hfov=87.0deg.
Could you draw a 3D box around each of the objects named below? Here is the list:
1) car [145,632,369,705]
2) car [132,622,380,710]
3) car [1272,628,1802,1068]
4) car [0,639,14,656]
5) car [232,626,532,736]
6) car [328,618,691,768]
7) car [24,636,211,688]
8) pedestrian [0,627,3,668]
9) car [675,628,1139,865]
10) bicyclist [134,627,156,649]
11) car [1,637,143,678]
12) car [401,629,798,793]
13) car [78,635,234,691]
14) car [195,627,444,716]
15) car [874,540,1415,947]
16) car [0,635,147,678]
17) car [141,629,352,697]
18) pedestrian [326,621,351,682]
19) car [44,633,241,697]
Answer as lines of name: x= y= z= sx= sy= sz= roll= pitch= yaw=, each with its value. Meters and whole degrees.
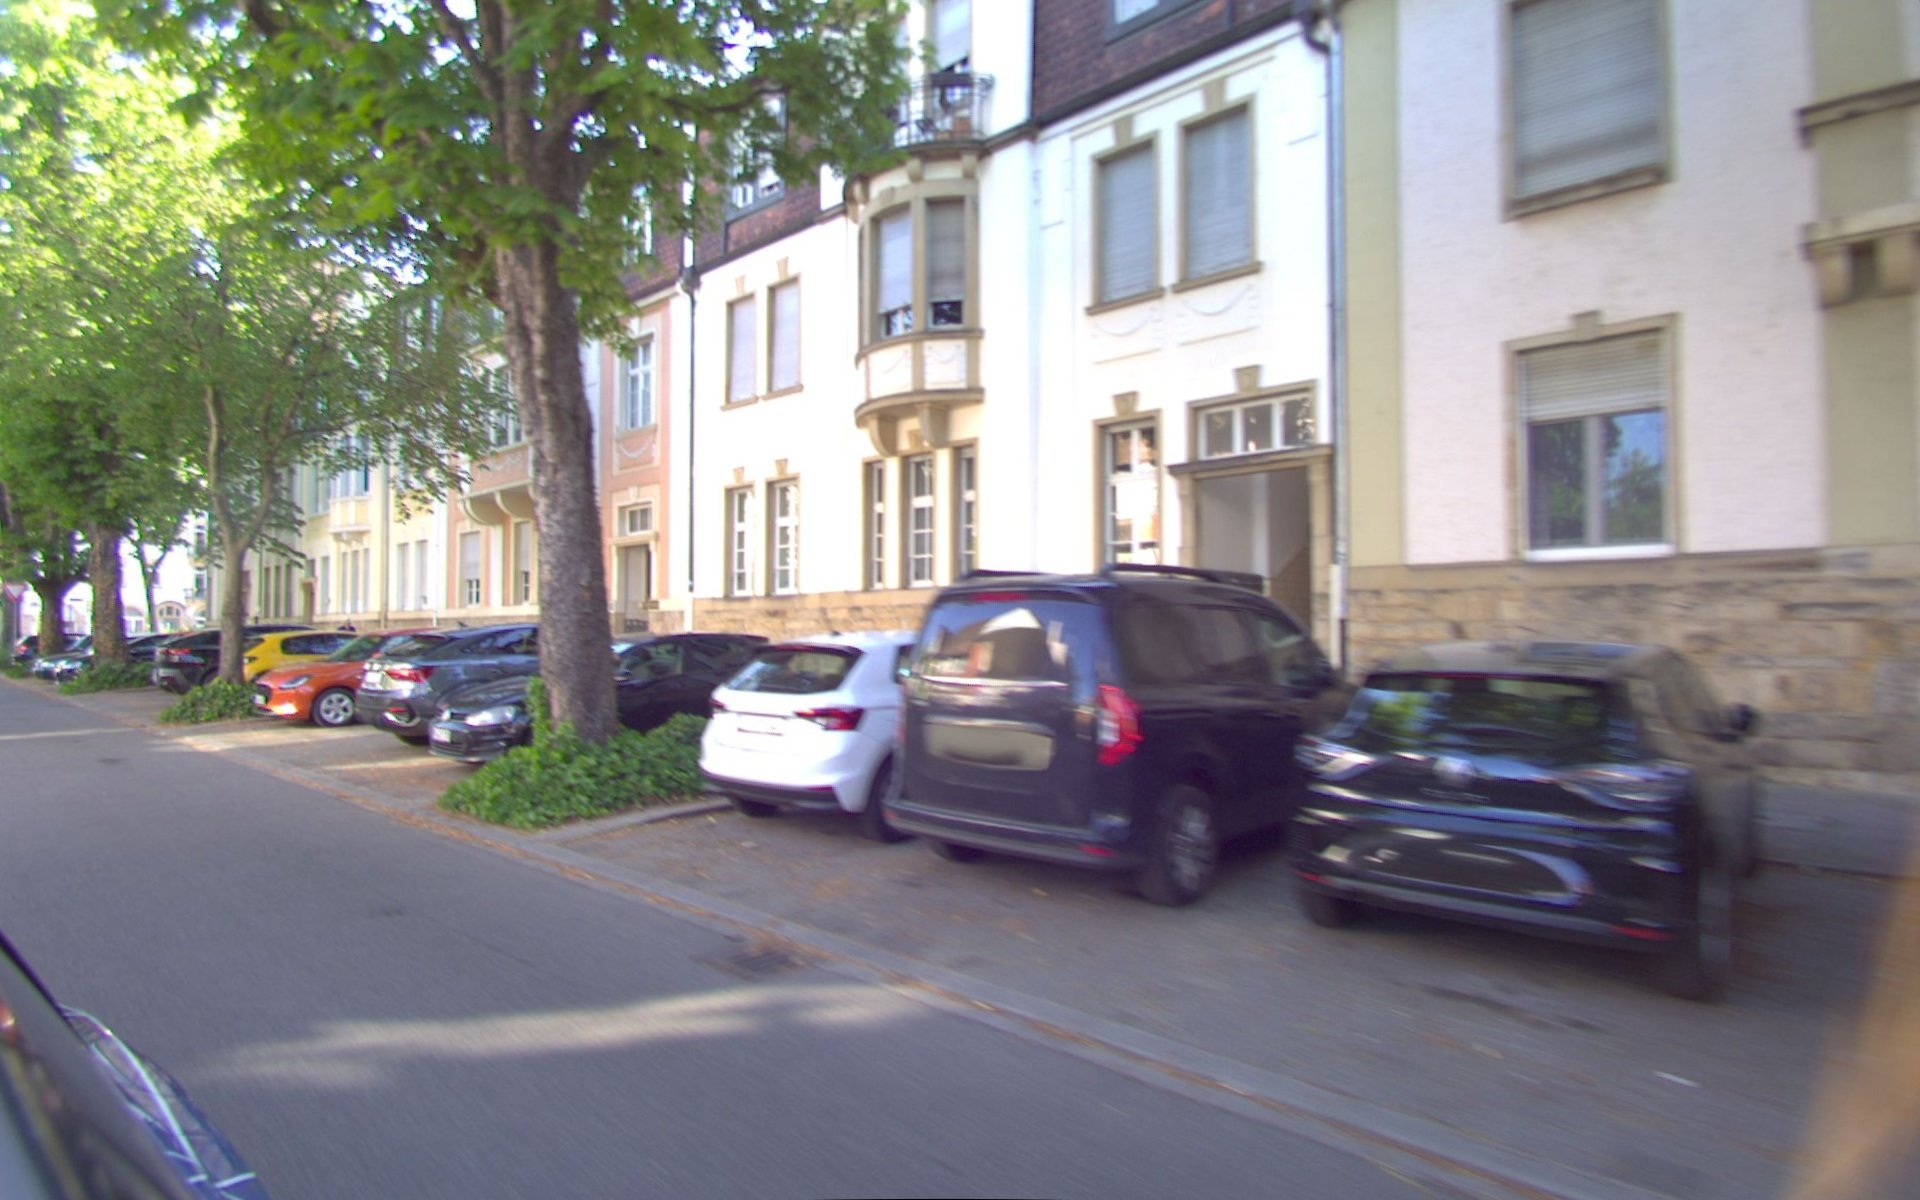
car: x=-16.004 y=1.493 z=23.173 sx=1.830 sy=1.414 sz=3.943 roll=-2 pitch=-1 yaw=43
car: x=-14.507 y=1.285 z=21.001 sx=1.863 sy=1.578 sz=3.943 roll=-2 pitch=-1 yaw=43
car: x=3.370 y=0.890 z=5.519 sx=1.827 sy=1.448 sz=3.939 roll=-2 pitch=-2 yaw=40
car: x=-95.667 y=4.729 z=100.494 sx=1.887 sy=1.671 sz=4.357 roll=-3 pitch=0 yaw=-35
car: x=-9.366 y=1.216 z=16.630 sx=1.747 sy=1.526 sz=3.944 roll=-1 pitch=-1 yaw=42
car: x=-5.743 y=1.069 z=13.254 sx=1.858 sy=1.604 sz=3.945 roll=-2 pitch=-1 yaw=41
car: x=-25.431 y=1.834 z=30.657 sx=1.703 sy=1.359 sz=4.167 roll=-1 pitch=-1 yaw=42
pedestrian: x=-40.369 y=1.985 z=42.109 sx=0.684 sy=1.695 sz=0.681 roll=1 pitch=-3 yaw=-37
car: x=-0.213 y=0.983 z=8.488 sx=1.740 sy=1.459 sz=3.949 roll=-1 pitch=-2 yaw=38
bicyclist: x=-56.454 y=2.620 z=70.067 sx=0.687 sy=1.554 sz=1.060 roll=-2 pitch=-3 yaw=41
car: x=-33.443 y=2.148 z=38.192 sx=1.615 sy=1.487 sz=3.841 roll=-1 pitch=-3 yaw=42
car: x=-3.988 y=1.106 z=11.536 sx=3.856 sy=1.457 sz=1.861 roll=0 pitch=-1 yaw=-43
car: x=-23.543 y=1.806 z=29.705 sx=1.704 sy=1.463 sz=3.395 roll=-1 pitch=-1 yaw=44
car: x=-12.322 y=1.304 z=19.610 sx=1.863 sy=1.473 sz=3.748 roll=-2 pitch=-1 yaw=43
car: x=1.467 y=0.704 z=6.767 sx=1.828 sy=1.870 sz=3.938 roll=-2 pitch=-2 yaw=41
car: x=-31.653 y=1.966 z=36.103 sx=1.612 sy=1.426 sz=3.847 roll=-2 pitch=-2 yaw=36
car: x=-17.454 y=1.515 z=24.881 sx=1.722 sy=1.519 sz=3.943 roll=-2 pitch=-3 yaw=43
pedestrian: x=-17.499 y=1.445 z=28.507 sx=0.454 sy=1.671 sz=0.896 roll=1 pitch=-2 yaw=-40
car: x=-21.931 y=1.685 z=27.253 sx=1.785 sy=1.494 sz=3.943 roll=-2 pitch=-2 yaw=43
